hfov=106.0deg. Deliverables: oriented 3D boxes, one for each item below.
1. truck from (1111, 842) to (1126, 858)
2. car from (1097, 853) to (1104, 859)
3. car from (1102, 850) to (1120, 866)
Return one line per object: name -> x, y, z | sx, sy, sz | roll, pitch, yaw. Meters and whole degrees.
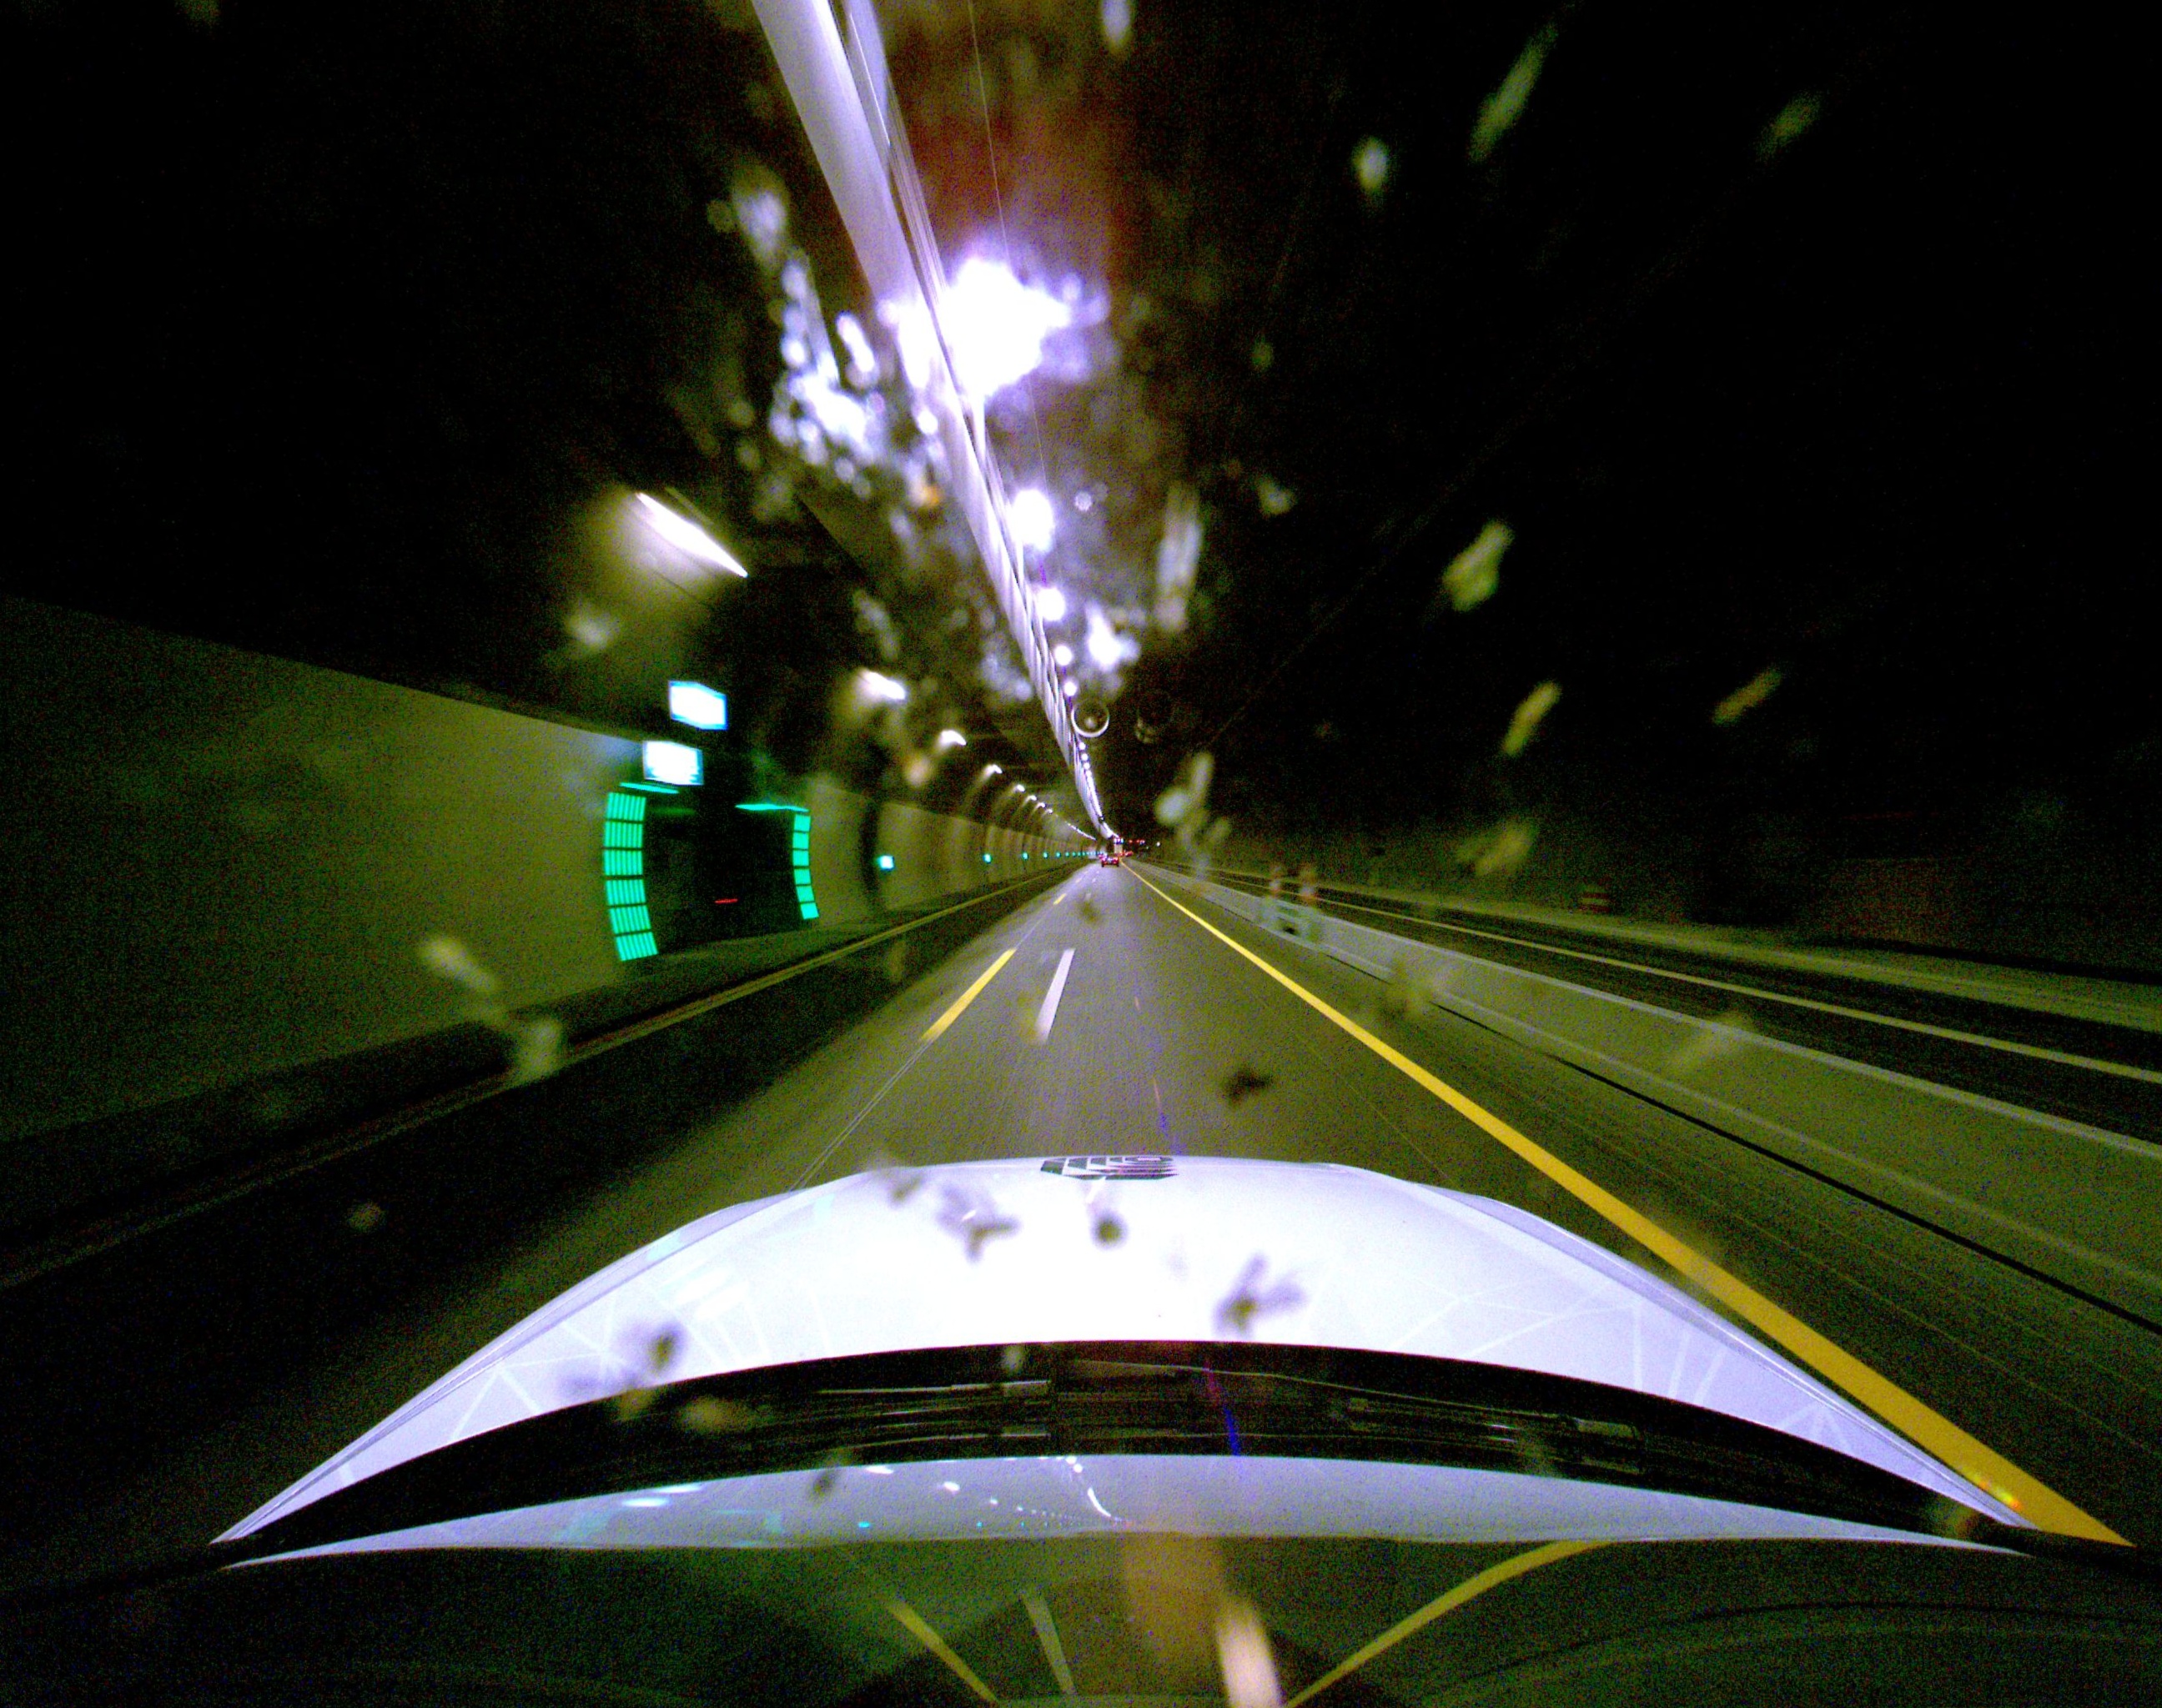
truck -> 12.189, -1.369, 262.166 | 4.526, 4.987, 9.608 | 0, 0, 4
car -> 4.910, 0.480, 203.641 | 1.820, 1.607, 4.001 | 0, 0, 1
car -> 3.162, 0.417, 86.962 | 1.881, 1.607, 4.001 | 0, 0, 1
